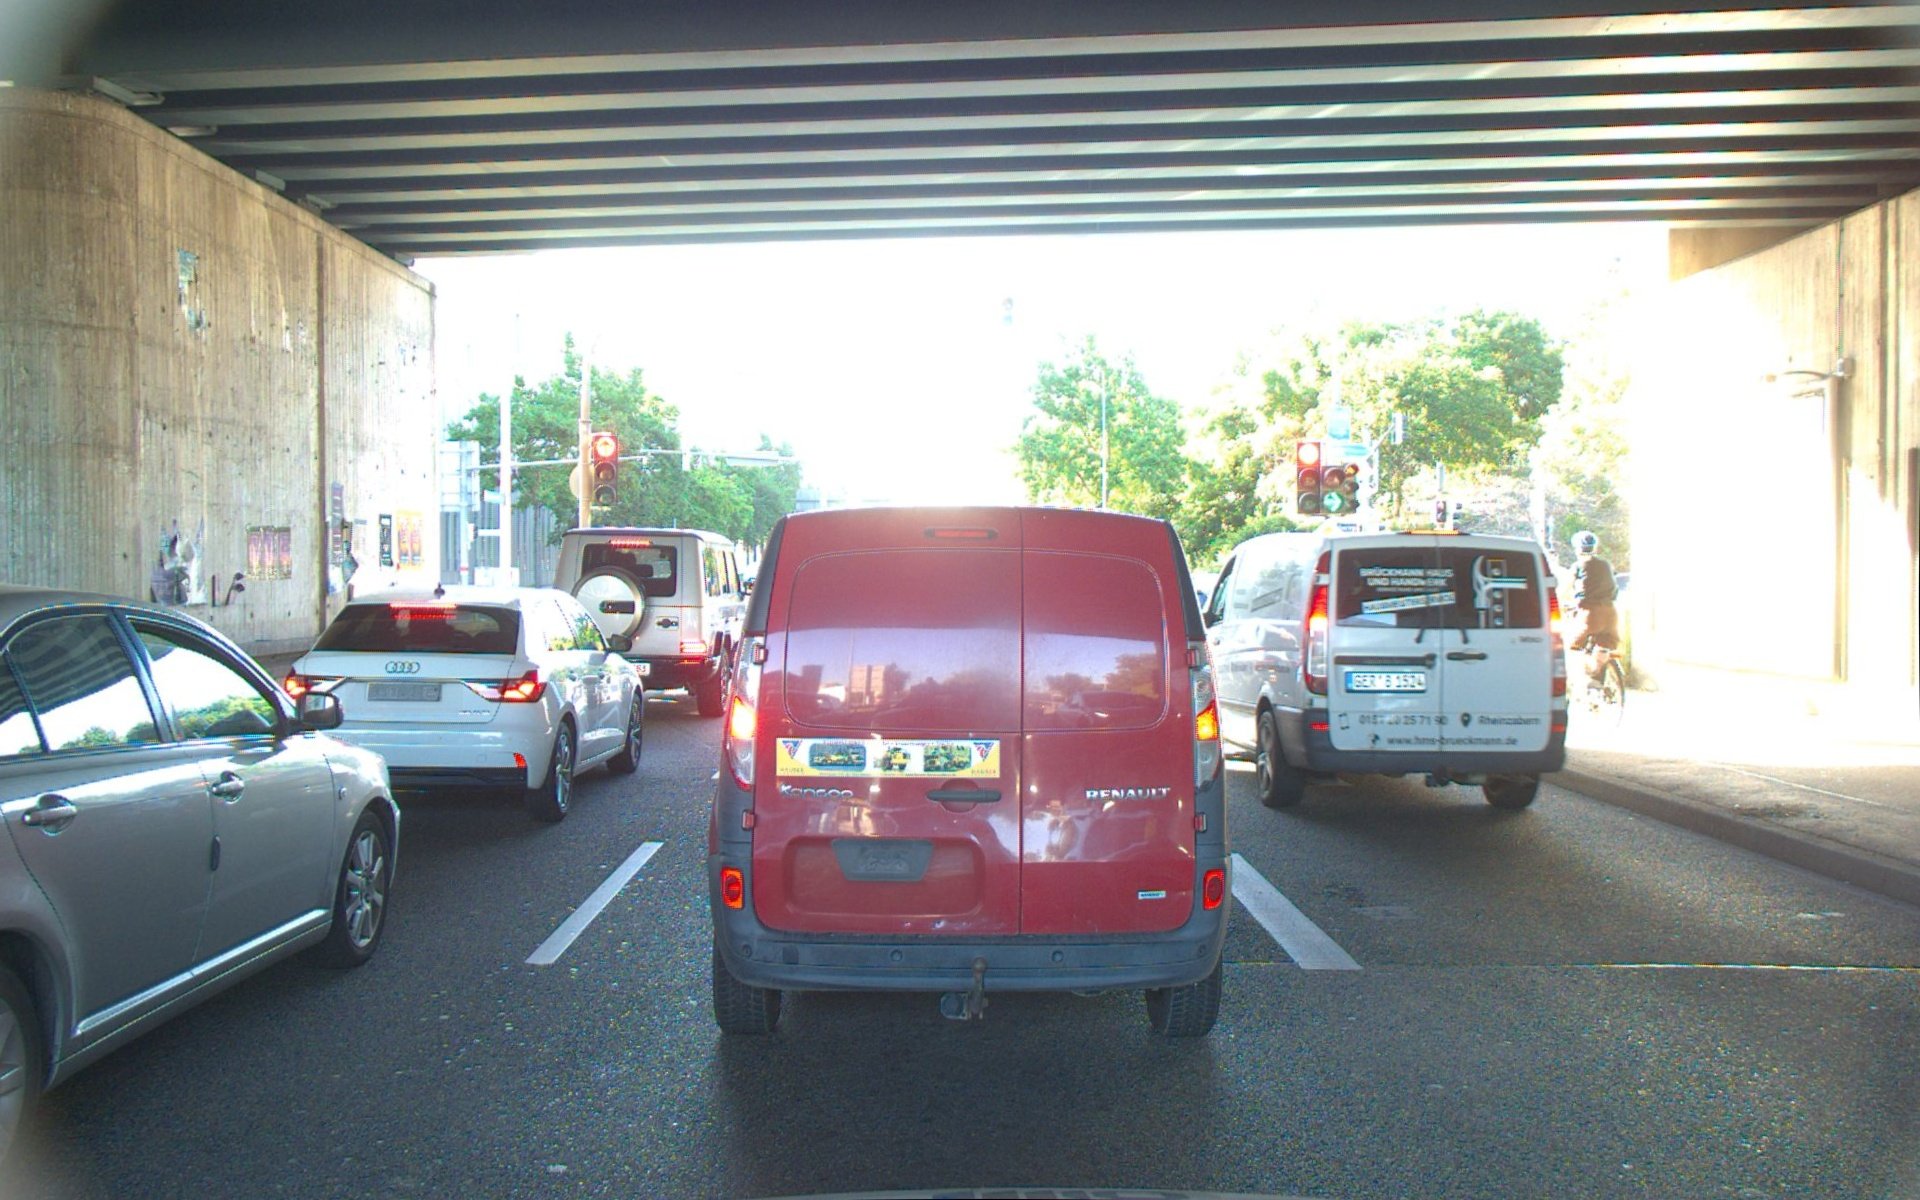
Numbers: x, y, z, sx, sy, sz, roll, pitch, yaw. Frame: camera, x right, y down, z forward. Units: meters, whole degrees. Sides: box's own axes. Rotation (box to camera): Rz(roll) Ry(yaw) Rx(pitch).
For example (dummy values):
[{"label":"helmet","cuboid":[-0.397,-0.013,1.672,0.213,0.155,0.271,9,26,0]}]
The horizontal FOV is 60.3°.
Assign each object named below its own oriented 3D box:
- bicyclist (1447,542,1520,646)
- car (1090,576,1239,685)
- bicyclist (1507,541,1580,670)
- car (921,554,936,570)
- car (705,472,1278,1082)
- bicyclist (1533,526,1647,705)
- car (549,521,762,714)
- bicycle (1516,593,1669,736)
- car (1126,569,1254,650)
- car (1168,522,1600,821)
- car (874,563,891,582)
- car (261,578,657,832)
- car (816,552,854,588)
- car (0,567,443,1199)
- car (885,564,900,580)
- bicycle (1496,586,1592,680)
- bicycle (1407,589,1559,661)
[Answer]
[{"label":"bicyclist","cuboid":[8.686,-0.101,27.474,0.869,1.684,0.745,1,0,-17]},{"label":"car","cuboid":[2.978,0.406,24.760,1.710,1.481,3.716,1,0,-1]},{"label":"bicyclist","cuboid":[7.322,0.069,20.790,0.656,1.589,0.735,0,0,1]},{"label":"car","cuboid":[-4.244,-5.052,220.648,1.953,2.049,3.999,1,0,-1]},{"label":"car","cuboid":[0.068,0.518,6.931,1.684,1.795,3.999,1,0,-1]},{"label":"bicyclist","cuboid":[5.743,0.136,15.109,0.639,1.560,0.846,-2,0,-2]},{"label":"car","cuboid":[-3.325,0.170,18.744,1.777,1.937,3.812,1,0,-2]},{"label":"bicycle","cuboid":[5.756,0.552,15.157,0.638,1.187,1.778,-3,1,-2]},{"label":"car","cuboid":[4.504,0.164,33.028,1.711,1.481,4.662,1,0,-3]},{"label":"car","cuboid":[2.993,0.438,12.869,1.860,1.868,4.832,1,0,-3]},{"label":"car","cuboid":[-8.930,-3.170,190.529,1.712,2.049,3.843,1,0,-1]},{"label":"car","cuboid":[-3.226,0.593,11.417,1.658,1.435,3.812,1,0,-2]},{"label":"car","cuboid":[-7.359,-1.746,97.423,1.953,2.049,3.999,1,0,-1]},{"label":"car","cuboid":[-3.004,0.645,4.875,1.662,1.480,4.397,1,0,-2]},{"label":"car","cuboid":[-9.119,-3.803,223.840,1.953,2.049,3.999,1,0,-1]},{"label":"bicycle","cuboid":[7.323,0.401,20.802,0.667,1.132,1.604,0,0,1]},{"label":"bicycle","cuboid":[8.686,0.412,27.473,2.422,1.166,0.764,0,0,-17]}]
